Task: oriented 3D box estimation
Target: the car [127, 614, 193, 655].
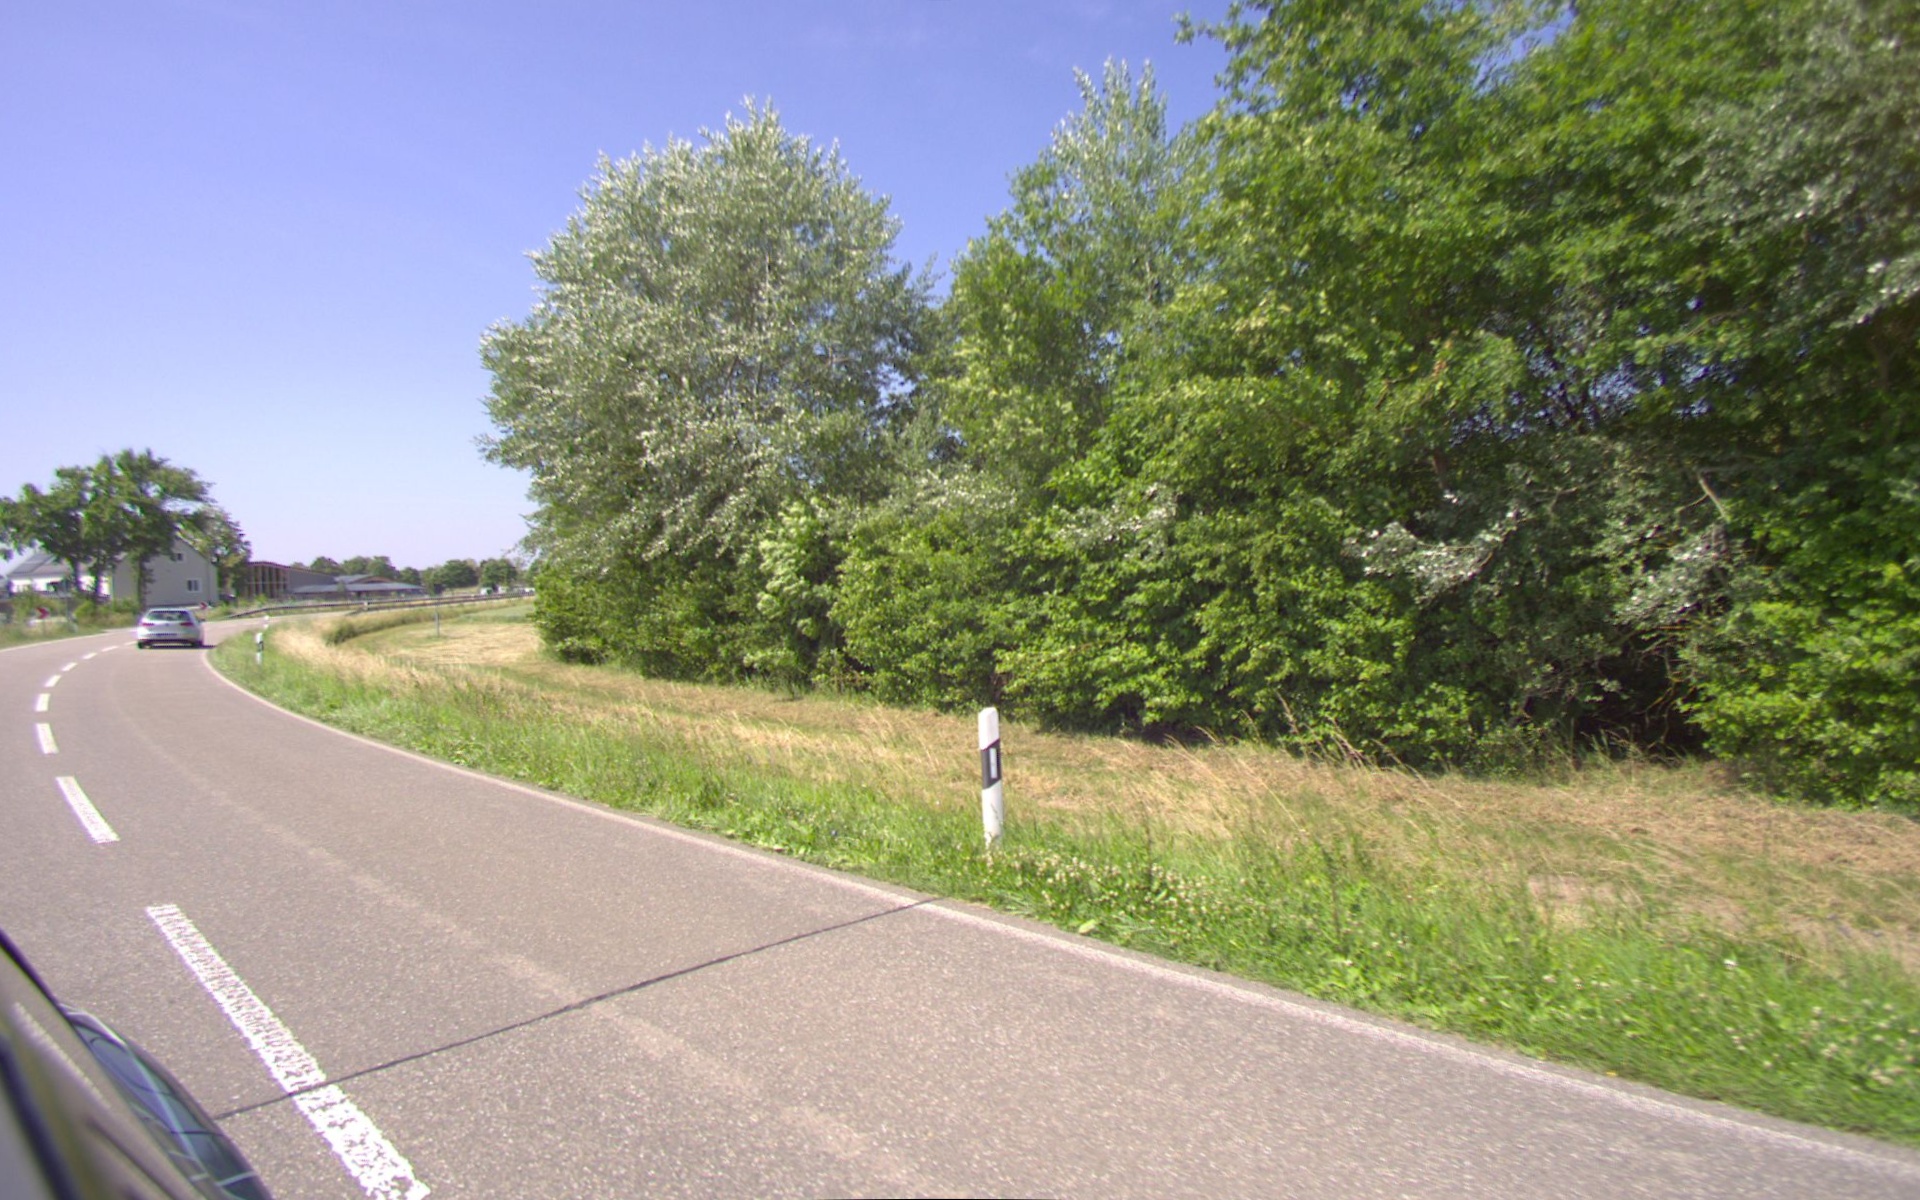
[{"bbox_3d":[-29.242,1.240,37.069,1.760,1.438,4.069,2,-2,-37],"label":"car"}]
